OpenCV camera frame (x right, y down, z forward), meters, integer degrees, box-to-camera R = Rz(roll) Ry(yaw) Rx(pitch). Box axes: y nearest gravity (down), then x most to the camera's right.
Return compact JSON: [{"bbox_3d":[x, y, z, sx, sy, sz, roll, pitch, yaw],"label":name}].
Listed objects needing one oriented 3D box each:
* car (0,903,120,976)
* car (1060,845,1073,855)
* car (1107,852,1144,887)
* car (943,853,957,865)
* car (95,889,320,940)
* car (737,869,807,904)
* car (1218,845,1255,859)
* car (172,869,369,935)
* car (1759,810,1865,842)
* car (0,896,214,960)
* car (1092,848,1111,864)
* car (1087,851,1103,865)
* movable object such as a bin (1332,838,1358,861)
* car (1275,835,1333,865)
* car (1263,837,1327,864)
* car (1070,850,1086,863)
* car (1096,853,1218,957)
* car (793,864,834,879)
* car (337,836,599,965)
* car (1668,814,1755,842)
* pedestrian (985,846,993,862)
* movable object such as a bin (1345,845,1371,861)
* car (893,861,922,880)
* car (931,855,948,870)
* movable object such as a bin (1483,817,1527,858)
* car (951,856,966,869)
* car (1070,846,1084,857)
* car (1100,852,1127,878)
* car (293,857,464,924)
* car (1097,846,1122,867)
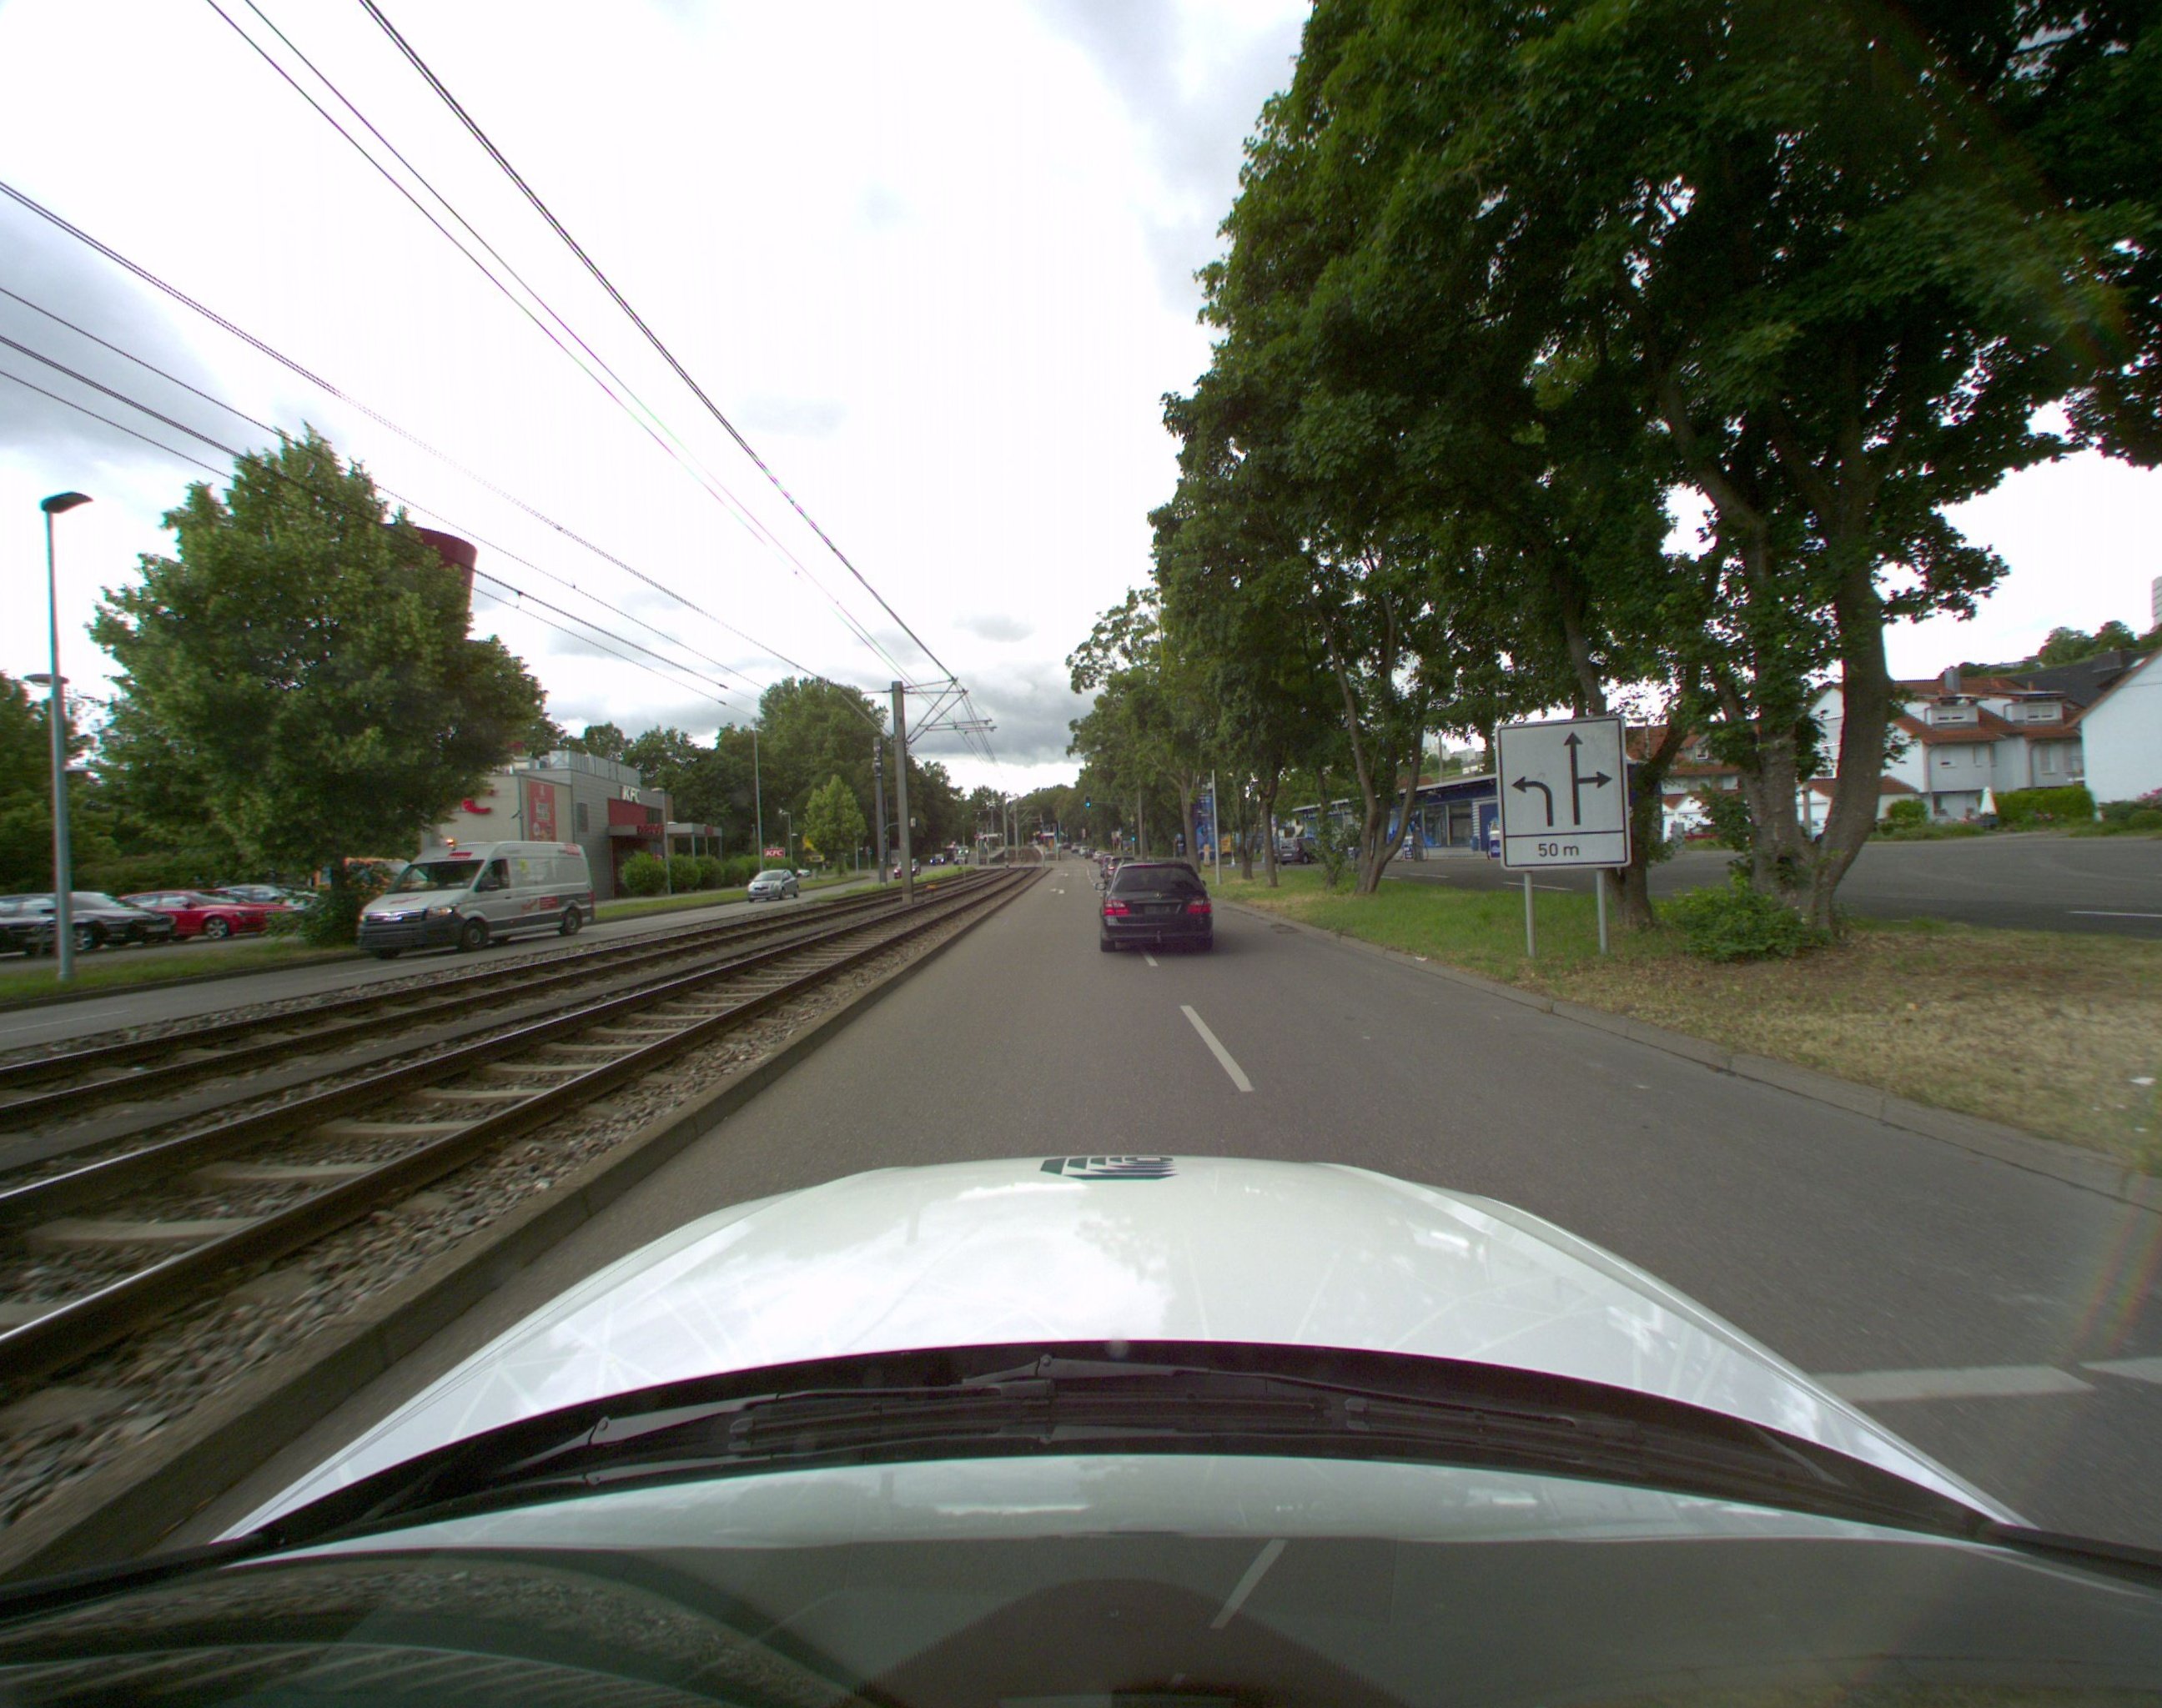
[{"bbox_3d":[-24.091,1.804,17.395,4.361,1.353,2.194,0,0,-2],"label":"car"},{"bbox_3d":[-3.192,-0.864,177.527,1.995,2.014,3.983,0,0,-13],"label":"car"},{"bbox_3d":[2.239,0.752,41.337,1.775,1.648,4.002,0,0,2],"label":"car"},{"bbox_3d":[-23.176,0.935,144.092,1.990,2.013,4.100,-3,0,-5],"label":"car"},{"bbox_3d":[-24.165,1.646,22.666,3.976,1.236,1.999,0,0,-2],"label":"car"},{"bbox_3d":[-15.591,1.618,41.318,1.988,1.482,3.997,-5,0,-2],"label":"car"},{"bbox_3d":[18.403,-0.229,96.610,4.133,1.526,1.706,-3,-1,4],"label":"car"},{"bbox_3d":[-24.928,1.449,25.178,3.976,1.918,1.999,0,0,-2],"label":"car"},{"bbox_3d":[39.945,-1.505,44.614,1.784,1.575,3.977,0,0,-17],"label":"car"},{"bbox_3d":[-24.555,1.788,20.083,3.976,1.367,2.092,0,0,-2],"label":"car"},{"bbox_3d":[2.473,0.191,99.073,1.990,1.893,3.994,0,0,-4],"label":"car"},{"bbox_3d":[2.025,0.619,117.040,1.990,1.966,3.994,0,0,-4],"label":"car"},{"bbox_3d":[17.957,-0.321,55.354,1.156,1.474,1.385,-3,0,-5],"label":"movable object such as a bin"},{"bbox_3d":[15.224,-0.321,55.413,4.410,1.821,1.730,-3,0,-44],"label":"car"},{"bbox_3d":[15.609,-0.280,59.453,4.212,1.697,1.828,-3,1,-19],"label":"car"},{"bbox_3d":[-0.530,0.418,133.497,1.992,2.014,3.988,0,0,-8],"label":"car"},{"bbox_3d":[1.170,0.760,13.963,1.775,1.525,4.001,0,0,1],"label":"car"},{"bbox_3d":[-29.415,1.938,89.726,3.868,1.408,1.846,-3,0,-2],"label":"car"},{"bbox_3d":[-14.306,0.966,19.645,1.865,2.499,5.992,-4,0,-3],"label":"car"},{"bbox_3d":[38.776,-1.561,50.205,1.784,1.575,3.977,0,0,-17],"label":"car"},{"bbox_3d":[-13.291,0.007,117.315,0.967,2.186,0.975,-2,0,-3],"label":"pedestrian"},{"bbox_3d":[17.797,-0.062,52.338,1.156,0.976,1.186,-3,0,-5],"label":"movable object such as a bin"},{"bbox_3d":[-15.356,1.440,72.297,1.779,1.582,4.477,-4,0,-3],"label":"car"},{"bbox_3d":[-20.141,1.213,115.845,1.990,2.013,4.240,-3,0,-5],"label":"car"},{"bbox_3d":[19.531,-0.731,37.561,1.156,1.818,1.453,-3,0,-5],"label":"movable object such as a bin"},{"bbox_3d":[-16.790,1.153,111.979,1.694,1.860,3.994,0,0,-4],"label":"car"},{"bbox_3d":[-0.753,-0.445,151.540,1.992,2.014,3.989,0,0,-8],"label":"car"},{"bbox_3d":[2.160,0.717,54.709,1.775,1.648,4.002,0,0,2],"label":"car"},{"bbox_3d":[-23.868,1.206,27.813,3.976,2.165,2.057,0,0,-2],"label":"car"},{"bbox_3d":[2.662,0.251,76.575,1.990,1.918,3.994,0,0,-4],"label":"car"}]
